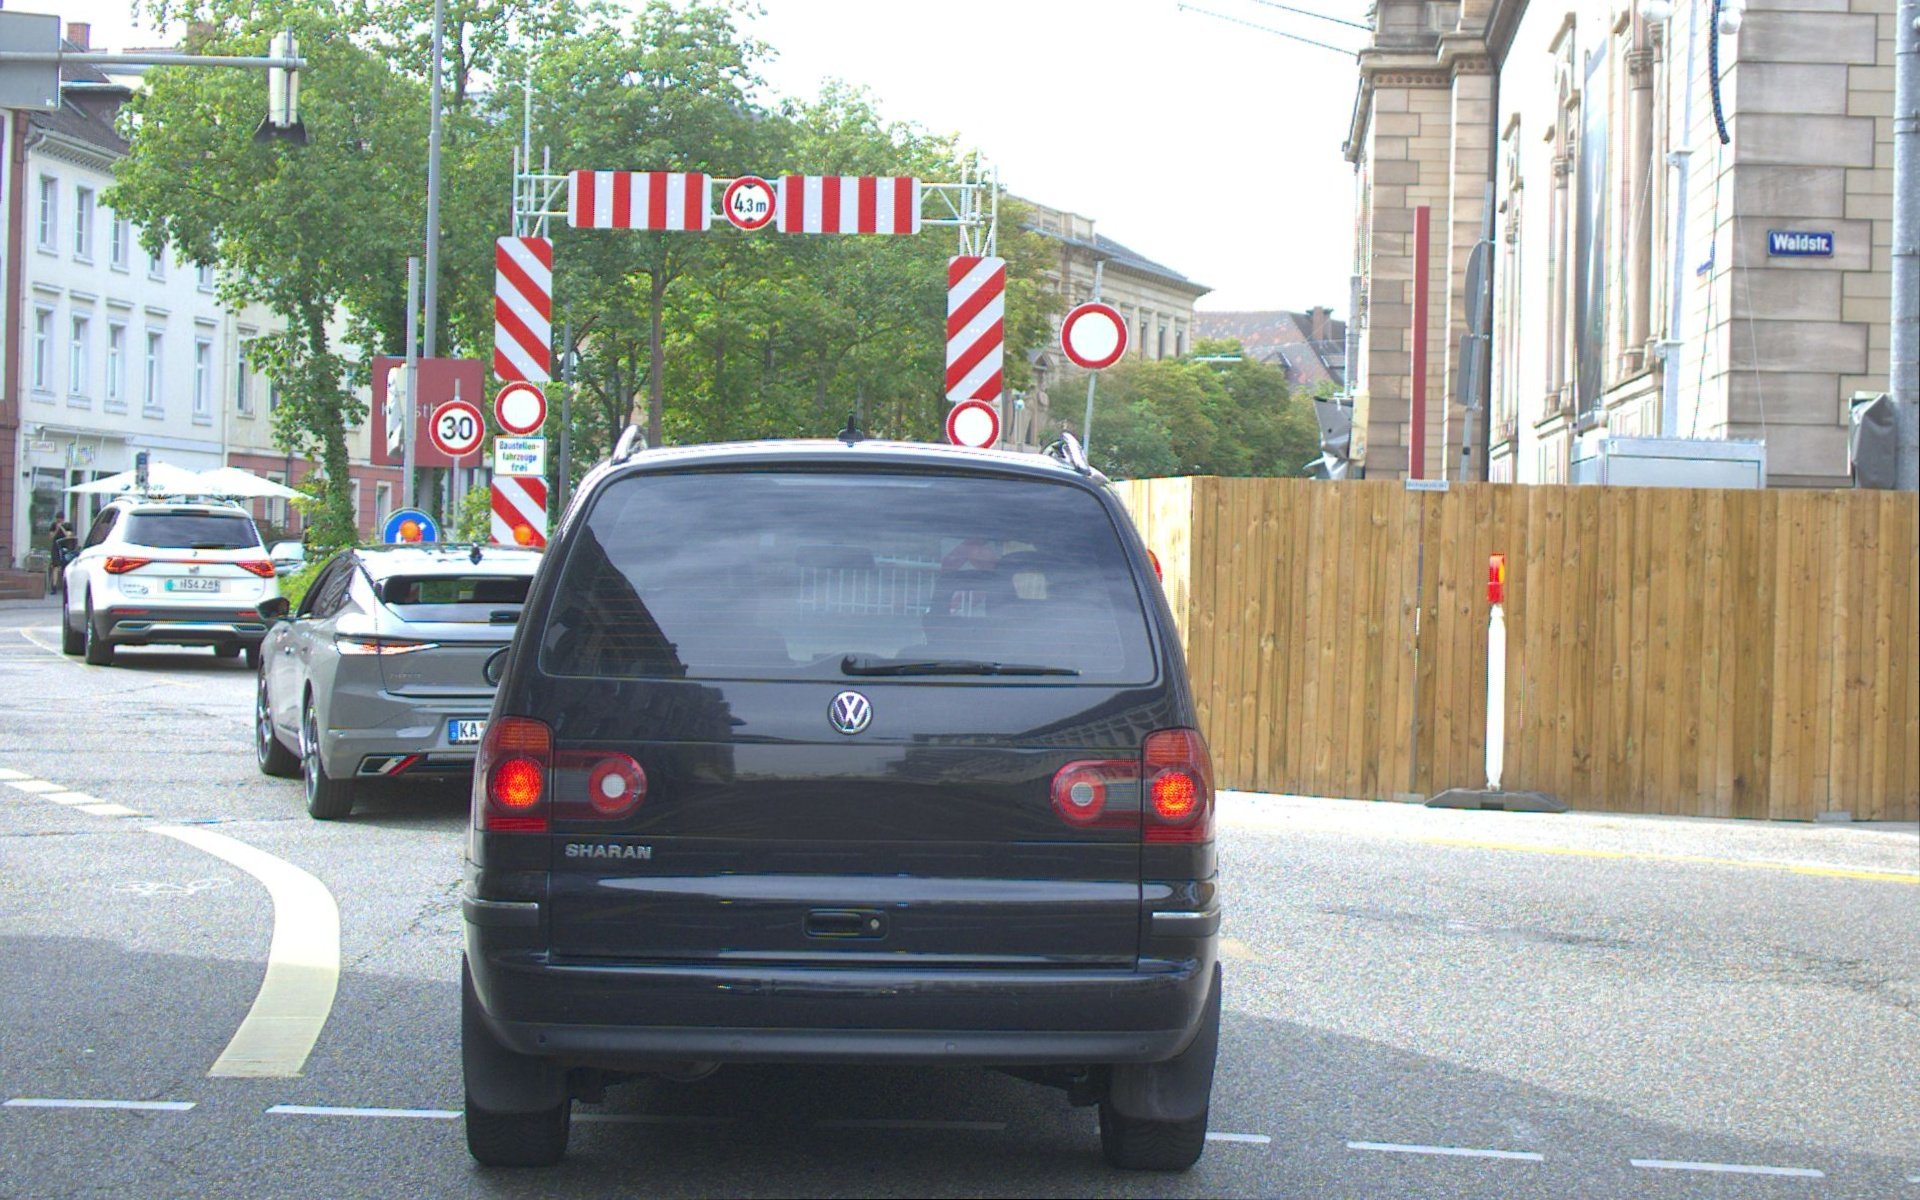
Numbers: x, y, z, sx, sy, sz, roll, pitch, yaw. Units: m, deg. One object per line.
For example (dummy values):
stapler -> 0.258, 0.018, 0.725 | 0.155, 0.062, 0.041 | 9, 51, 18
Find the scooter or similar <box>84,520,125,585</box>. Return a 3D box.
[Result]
scooter or similar -> -16.800, -0.921, 67.525 | 0.599, 1.251, 1.552 | 1, 0, -8

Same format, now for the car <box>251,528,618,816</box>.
car -> -3.129, 0.352, 19.851 | 1.677, 1.464, 4.104 | 1, 1, -14

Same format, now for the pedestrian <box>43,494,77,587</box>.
pedestrian -> -19.513, -1.290, 74.540 | 0.585, 2.007, 0.686 | 1, 0, -5

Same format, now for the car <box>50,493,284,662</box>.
car -> -8.035, -0.231, 34.599 | 1.772, 1.580, 4.001 | 1, 0, -20

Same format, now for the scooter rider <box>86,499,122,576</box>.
scooter rider -> -16.802, -1.218, 67.472 | 0.599, 1.485, 0.679 | 1, 0, -8

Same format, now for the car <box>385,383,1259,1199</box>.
car -> -0.389, 0.442, 9.269 | 1.789, 1.784, 4.104 | 2, 1, -3
